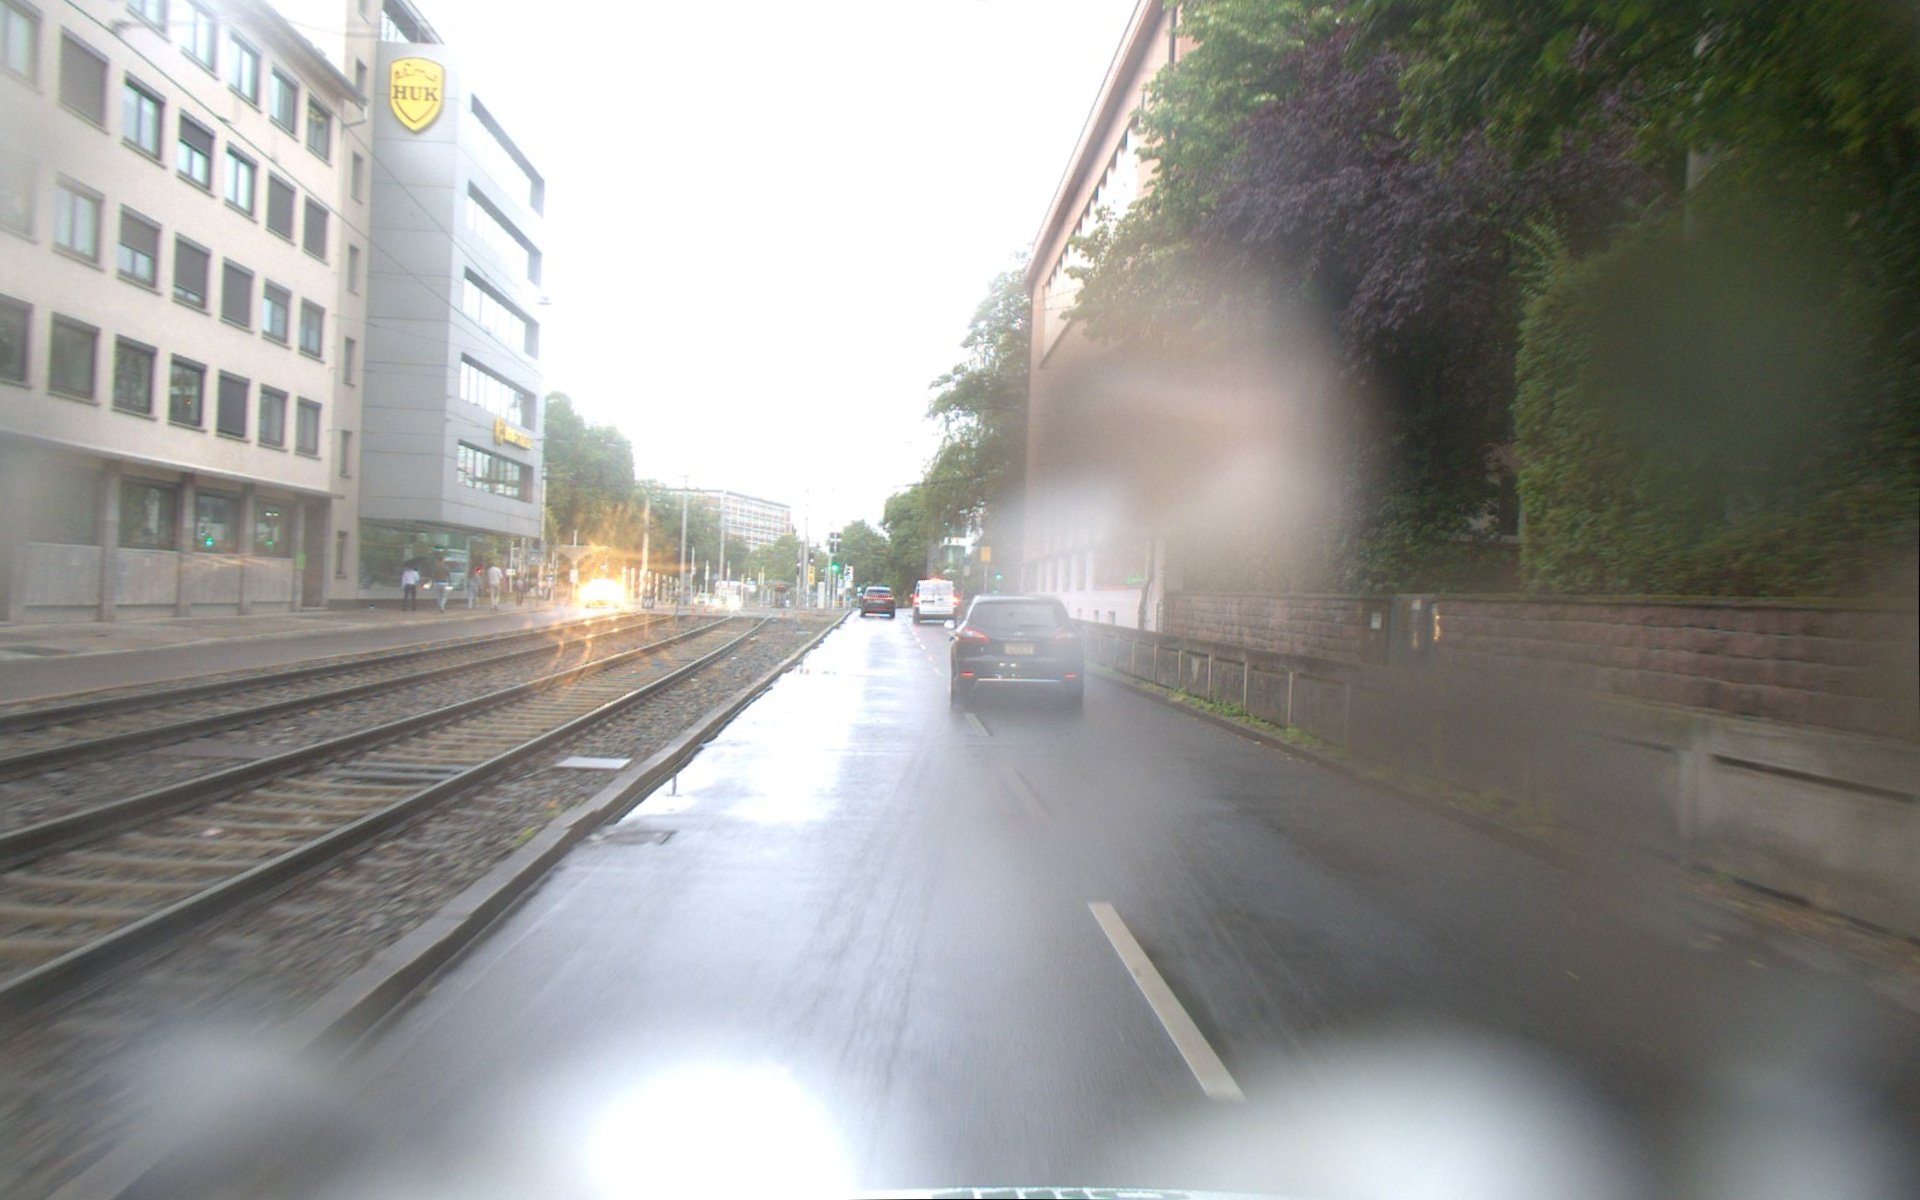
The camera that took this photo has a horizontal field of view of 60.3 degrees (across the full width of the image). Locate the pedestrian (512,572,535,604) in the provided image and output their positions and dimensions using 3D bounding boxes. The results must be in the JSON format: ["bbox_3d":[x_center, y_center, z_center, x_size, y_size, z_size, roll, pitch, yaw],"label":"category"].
[{"bbox_3d":[-22.642,-0.617,85.748,0.953,1.621,0.583,4,-1,-29],"label":"pedestrian"}]

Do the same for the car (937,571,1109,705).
[{"bbox_3d":[0.775,0.470,23.084,1.995,1.612,4.390,2,0,-3],"label":"car"}]

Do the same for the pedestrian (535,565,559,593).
[{"bbox_3d":[-25.287,-1.291,101.288,0.980,1.621,0.913,3,-1,21],"label":"pedestrian"}]

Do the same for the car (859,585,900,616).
[{"bbox_3d":[-4.200,0.027,86.913,2.056,1.532,4.730,1,0,-1],"label":"car"}]

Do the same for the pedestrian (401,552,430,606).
[{"bbox_3d":[-19.259,-0.739,58.515,0.648,1.847,0.973,4,0,-2],"label":"pedestrian"}]

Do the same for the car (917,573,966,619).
[{"bbox_3d":[-0.818,-0.167,72.267,1.994,1.872,4.391,2,0,-1],"label":"car"}]

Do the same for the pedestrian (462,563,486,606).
[{"bbox_3d":[-19.110,-0.604,65.059,0.574,1.621,0.636,3,-1,14],"label":"pedestrian"}]

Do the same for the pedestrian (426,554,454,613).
[{"bbox_3d":[-18.433,-0.588,58.622,0.648,2.048,0.810,4,-1,-2],"label":"pedestrian"}]

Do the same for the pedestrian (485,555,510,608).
[{"bbox_3d":[-18.270,-0.736,65.345,0.657,2.048,0.608,4,-1,-41],"label":"pedestrian"}]

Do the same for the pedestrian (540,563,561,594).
[{"bbox_3d":[-26.026,-1.360,105.052,0.990,1.895,0.904,4,-1,-31],"label":"pedestrian"}]

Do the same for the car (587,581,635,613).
[{"bbox_3d":[-17.838,-0.158,84.666,1.902,1.563,4.343,-1,0,-6],"label":"car"}]
